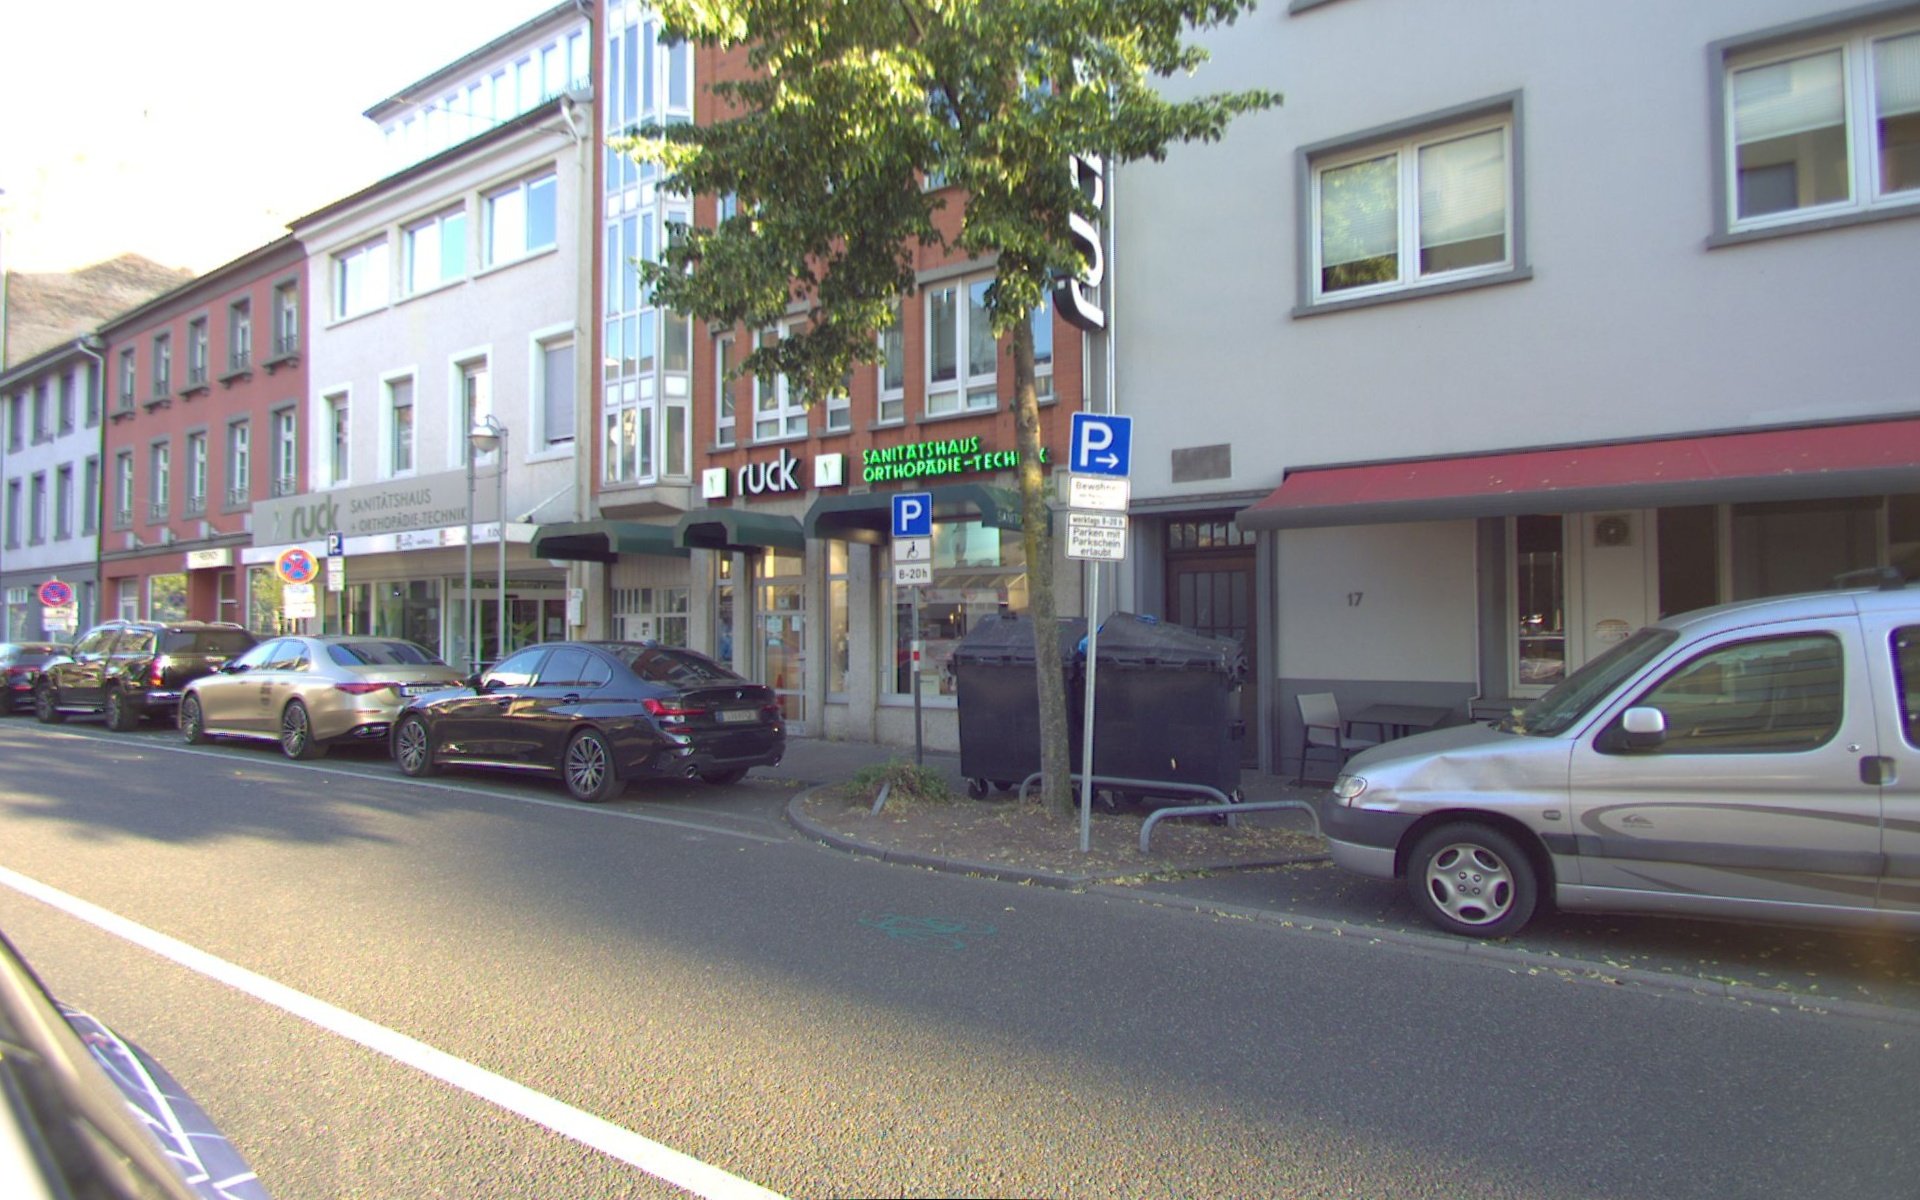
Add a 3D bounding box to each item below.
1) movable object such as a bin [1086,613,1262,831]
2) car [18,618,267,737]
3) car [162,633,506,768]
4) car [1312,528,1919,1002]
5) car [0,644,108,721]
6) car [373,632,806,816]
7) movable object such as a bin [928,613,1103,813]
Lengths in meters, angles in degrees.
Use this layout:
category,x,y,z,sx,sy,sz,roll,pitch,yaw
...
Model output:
category,x,y,z,sx,sy,sz,roll,pitch,yaw
movable object such as a bin,1.757,0.939,8.289,1.203,1.632,0.775,-1,0,30
car,-14.052,1.284,17.325,4.921,1.793,1.708,-2,-4,31
car,-8.428,1.238,13.459,5.094,1.484,1.977,-2,-4,34
car,3.986,0.710,4.972,4.038,1.902,1.657,-1,-4,31
car,-19.299,1.648,20.700,4.001,1.448,1.688,-2,-5,32
car,-3.832,1.113,10.188,4.528,1.484,1.706,-2,-5,33
movable object such as a bin,0.490,0.951,9.001,1.331,1.632,0.775,-1,-1,30
